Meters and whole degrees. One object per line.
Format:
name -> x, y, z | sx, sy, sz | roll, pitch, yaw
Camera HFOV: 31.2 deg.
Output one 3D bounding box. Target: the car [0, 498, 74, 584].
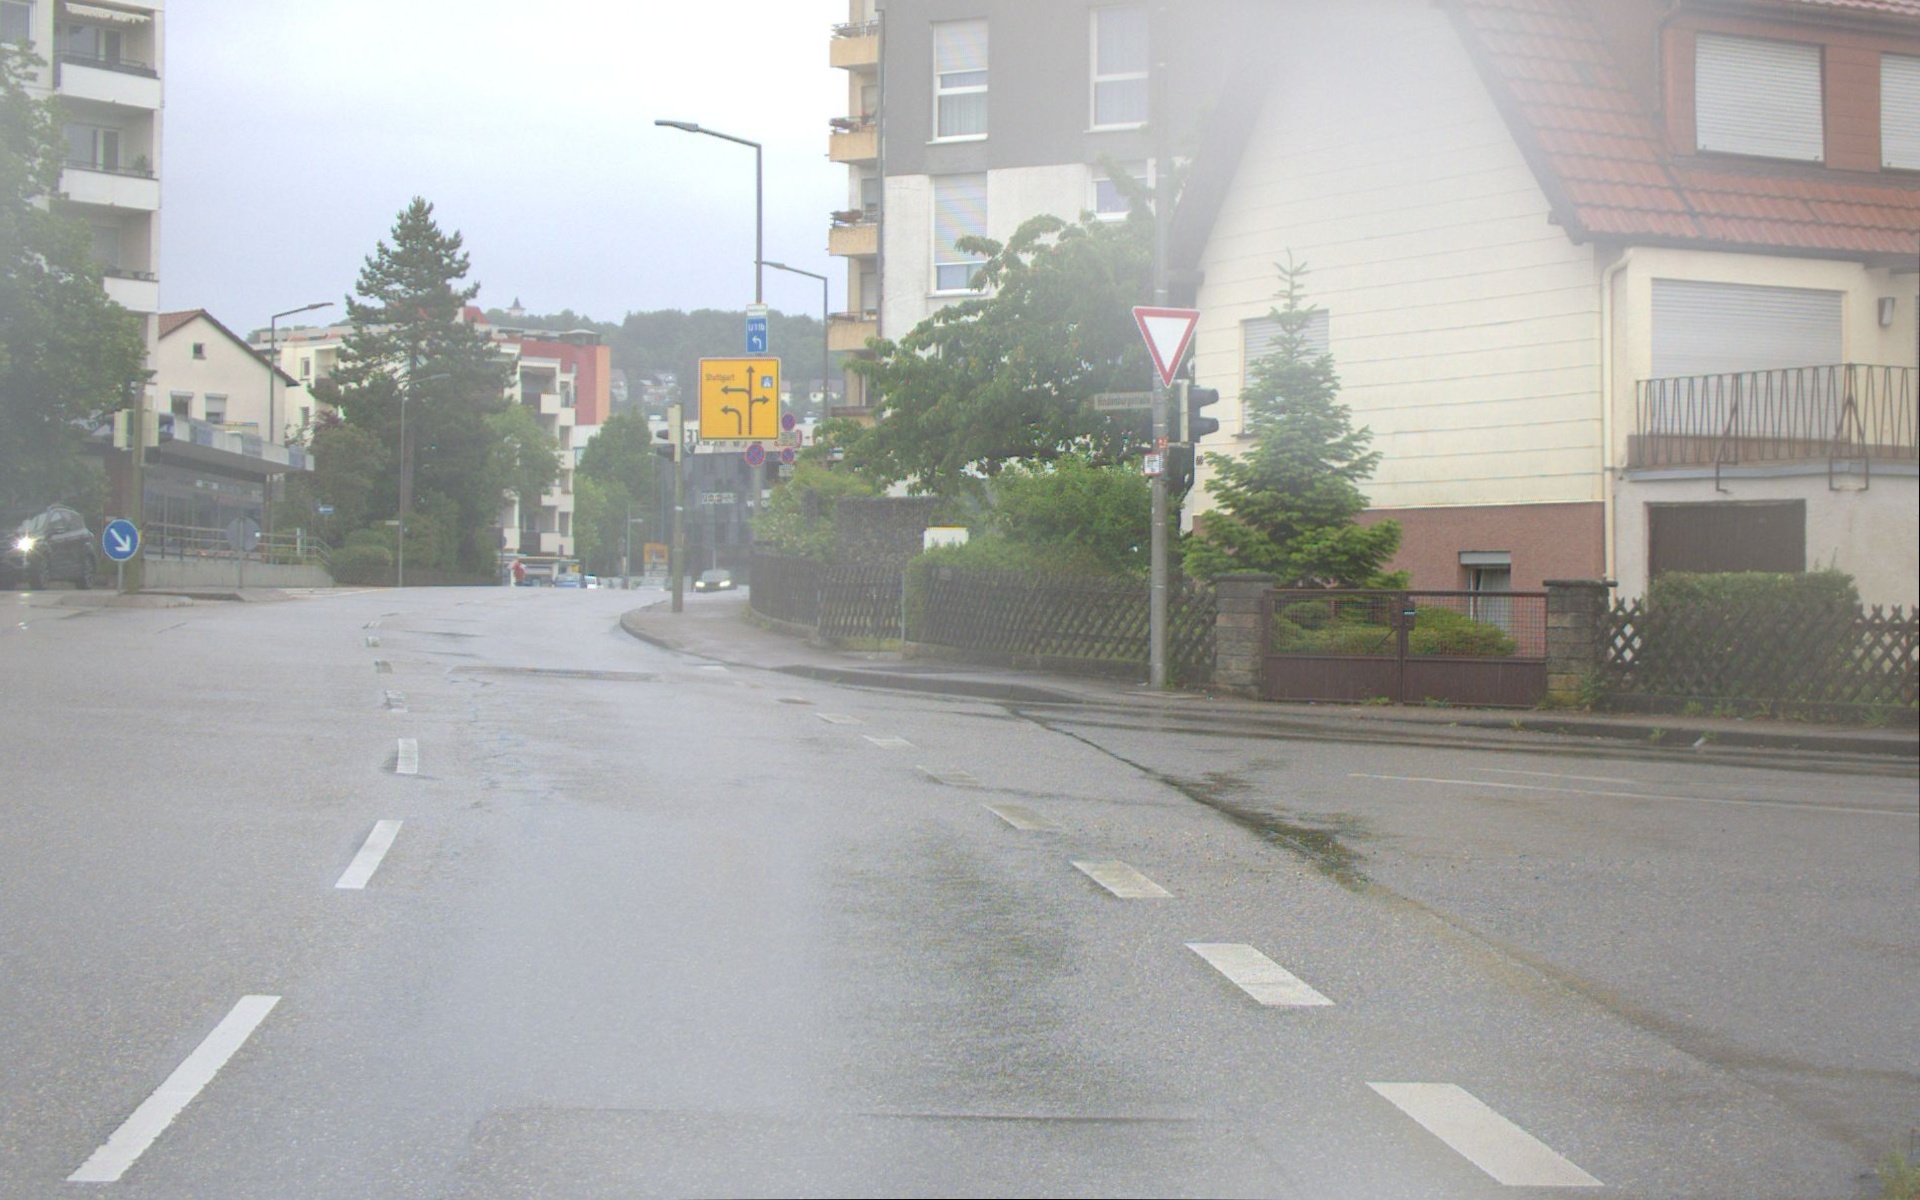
car -> -18.458, -1.137, 66.154 | 1.879, 1.592, 4.185 | 1, 1, -2
